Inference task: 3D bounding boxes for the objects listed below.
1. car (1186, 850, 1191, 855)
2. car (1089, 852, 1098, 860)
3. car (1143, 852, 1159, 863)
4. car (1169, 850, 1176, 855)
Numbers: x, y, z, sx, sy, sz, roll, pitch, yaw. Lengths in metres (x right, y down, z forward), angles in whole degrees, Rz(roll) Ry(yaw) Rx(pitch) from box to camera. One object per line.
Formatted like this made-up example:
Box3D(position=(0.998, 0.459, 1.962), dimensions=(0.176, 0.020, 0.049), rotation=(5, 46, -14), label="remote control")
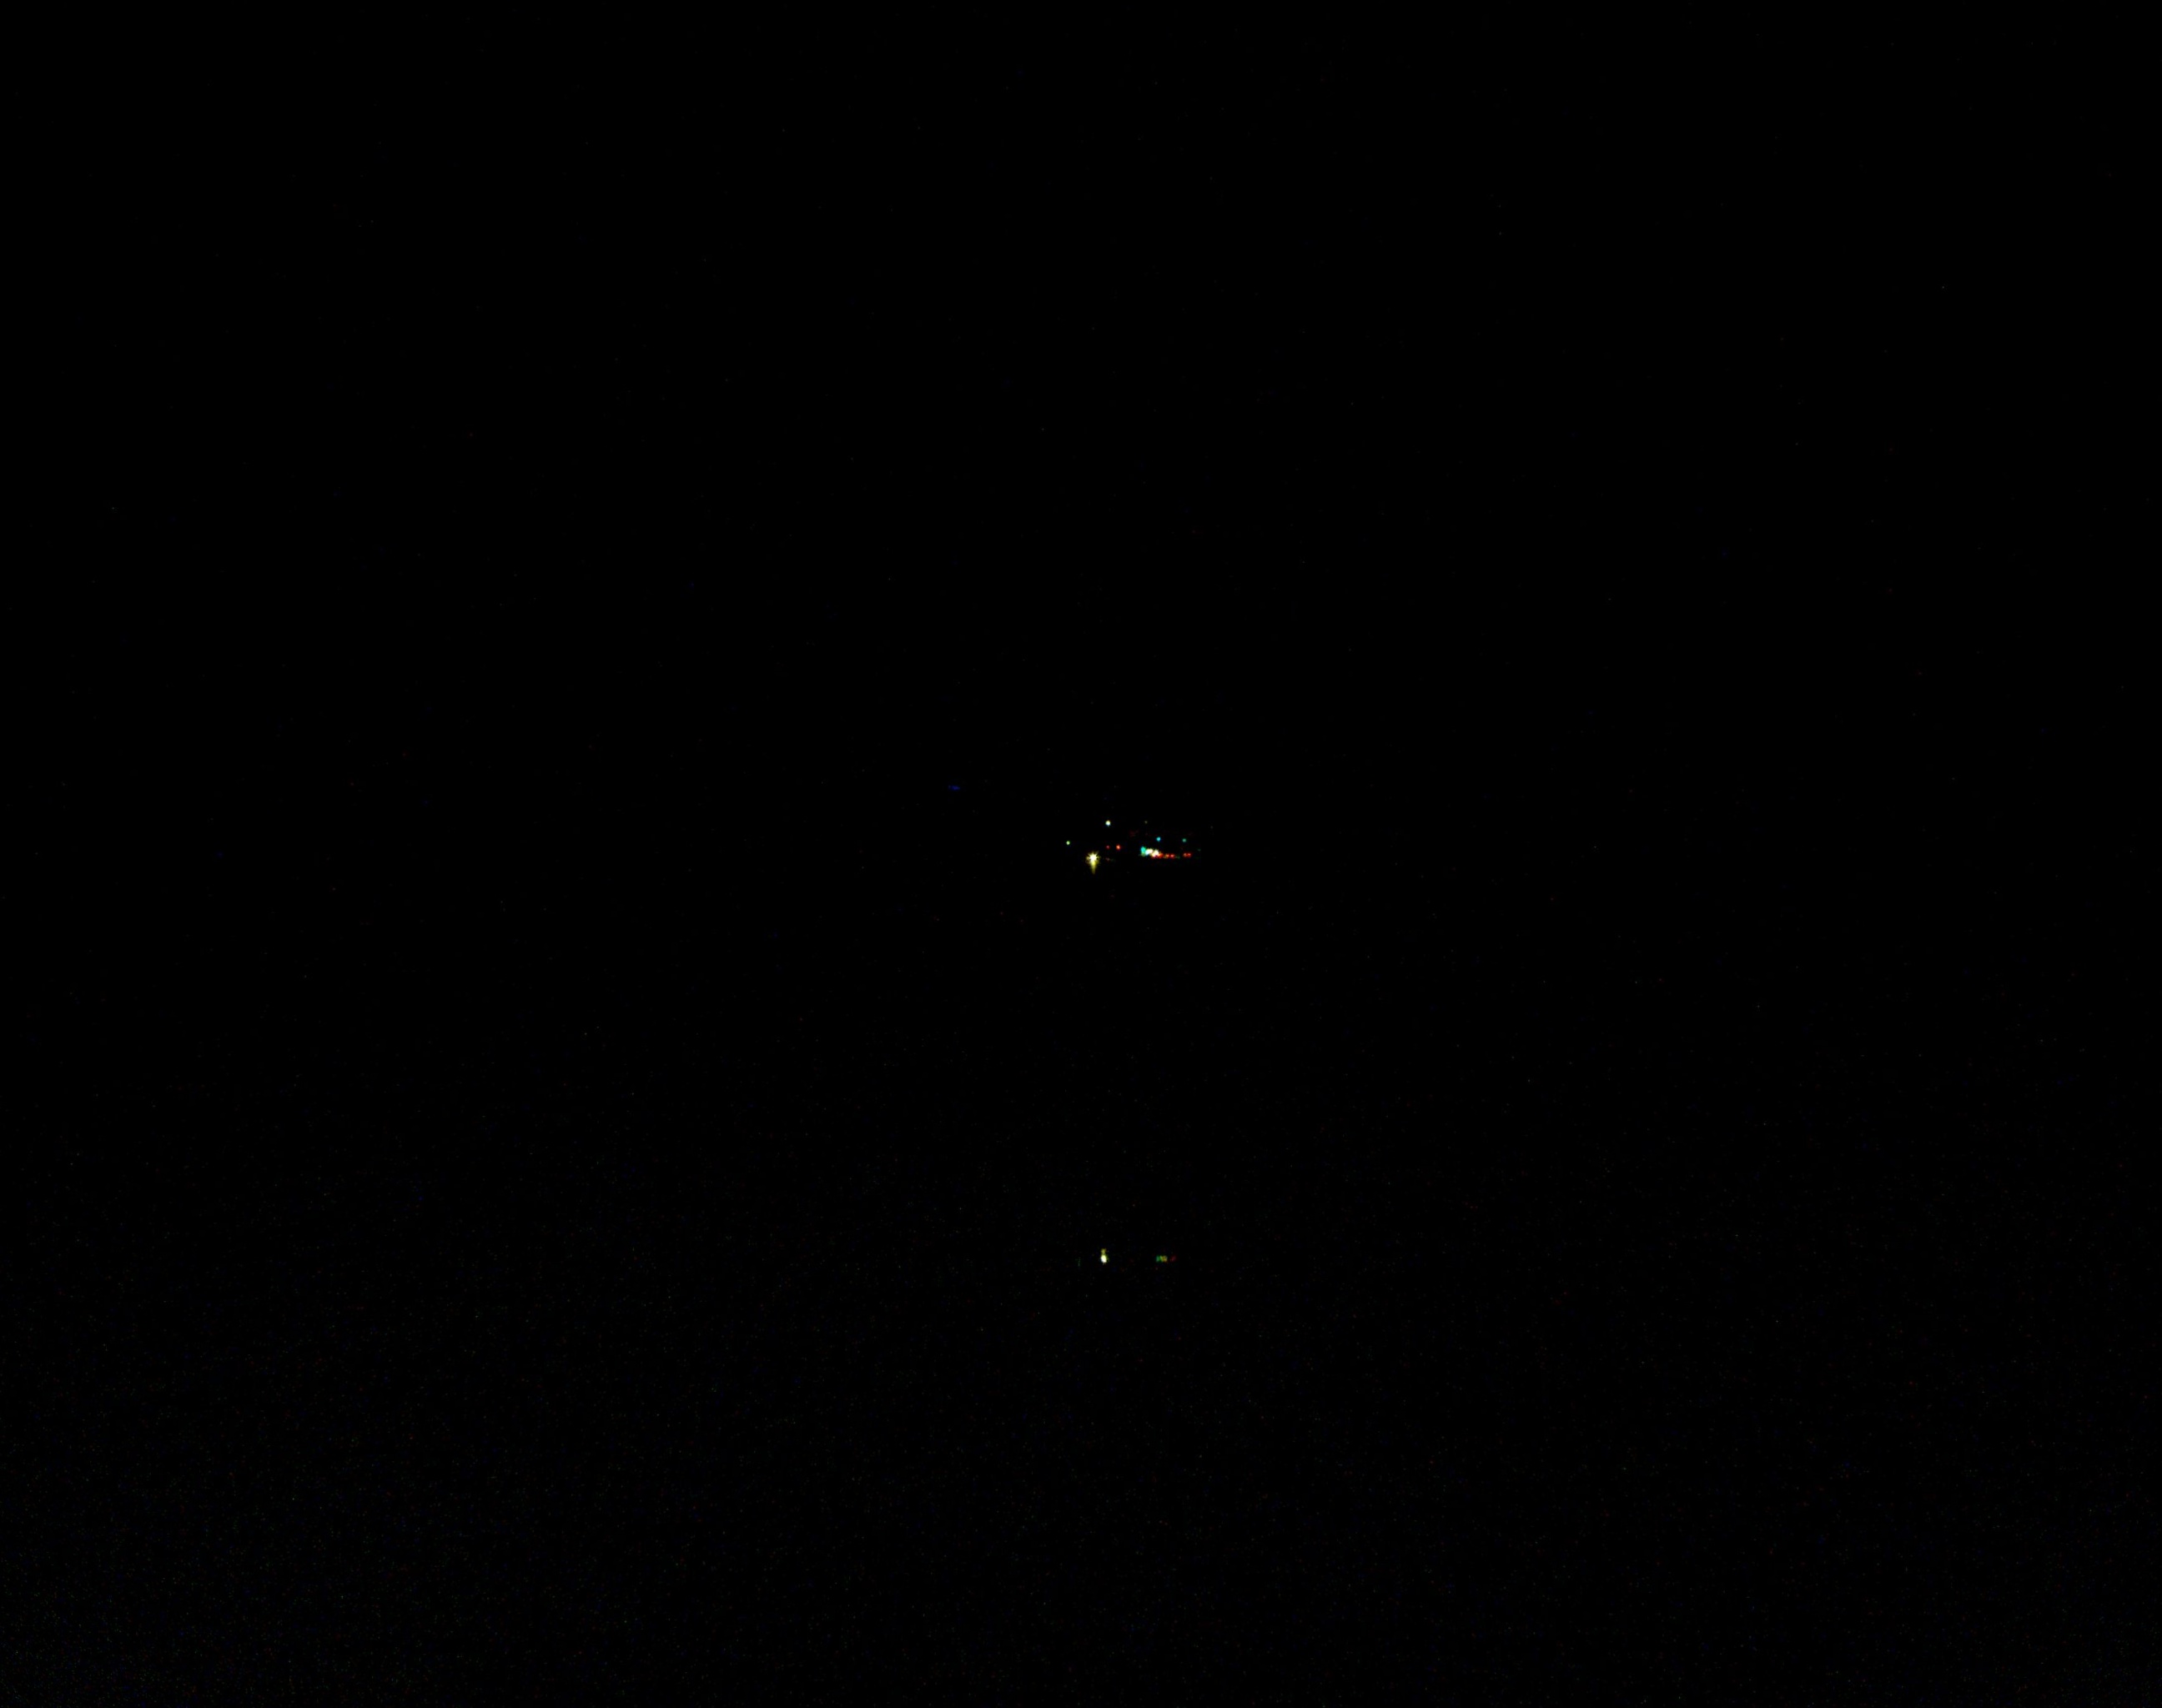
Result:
Box3D(position=(35.275, -0.526, 249.474), dimensions=(1.655, 1.467, 4.002), rotation=(-2, 1, 10), label="car")
Box3D(position=(2.398, 0.367, 148.302), dimensions=(1.570, 1.336, 4.166), rotation=(-2, 0, 1), label="car")
Box3D(position=(9.711, 0.424, 105.319), dimensions=(1.724, 1.399, 4.574), rotation=(-2, 1, 1), label="car")
Box3D(position=(26.901, -0.351, 223.754), dimensions=(1.723, 1.439, 4.383), rotation=(-2, 1, 9), label="car")
